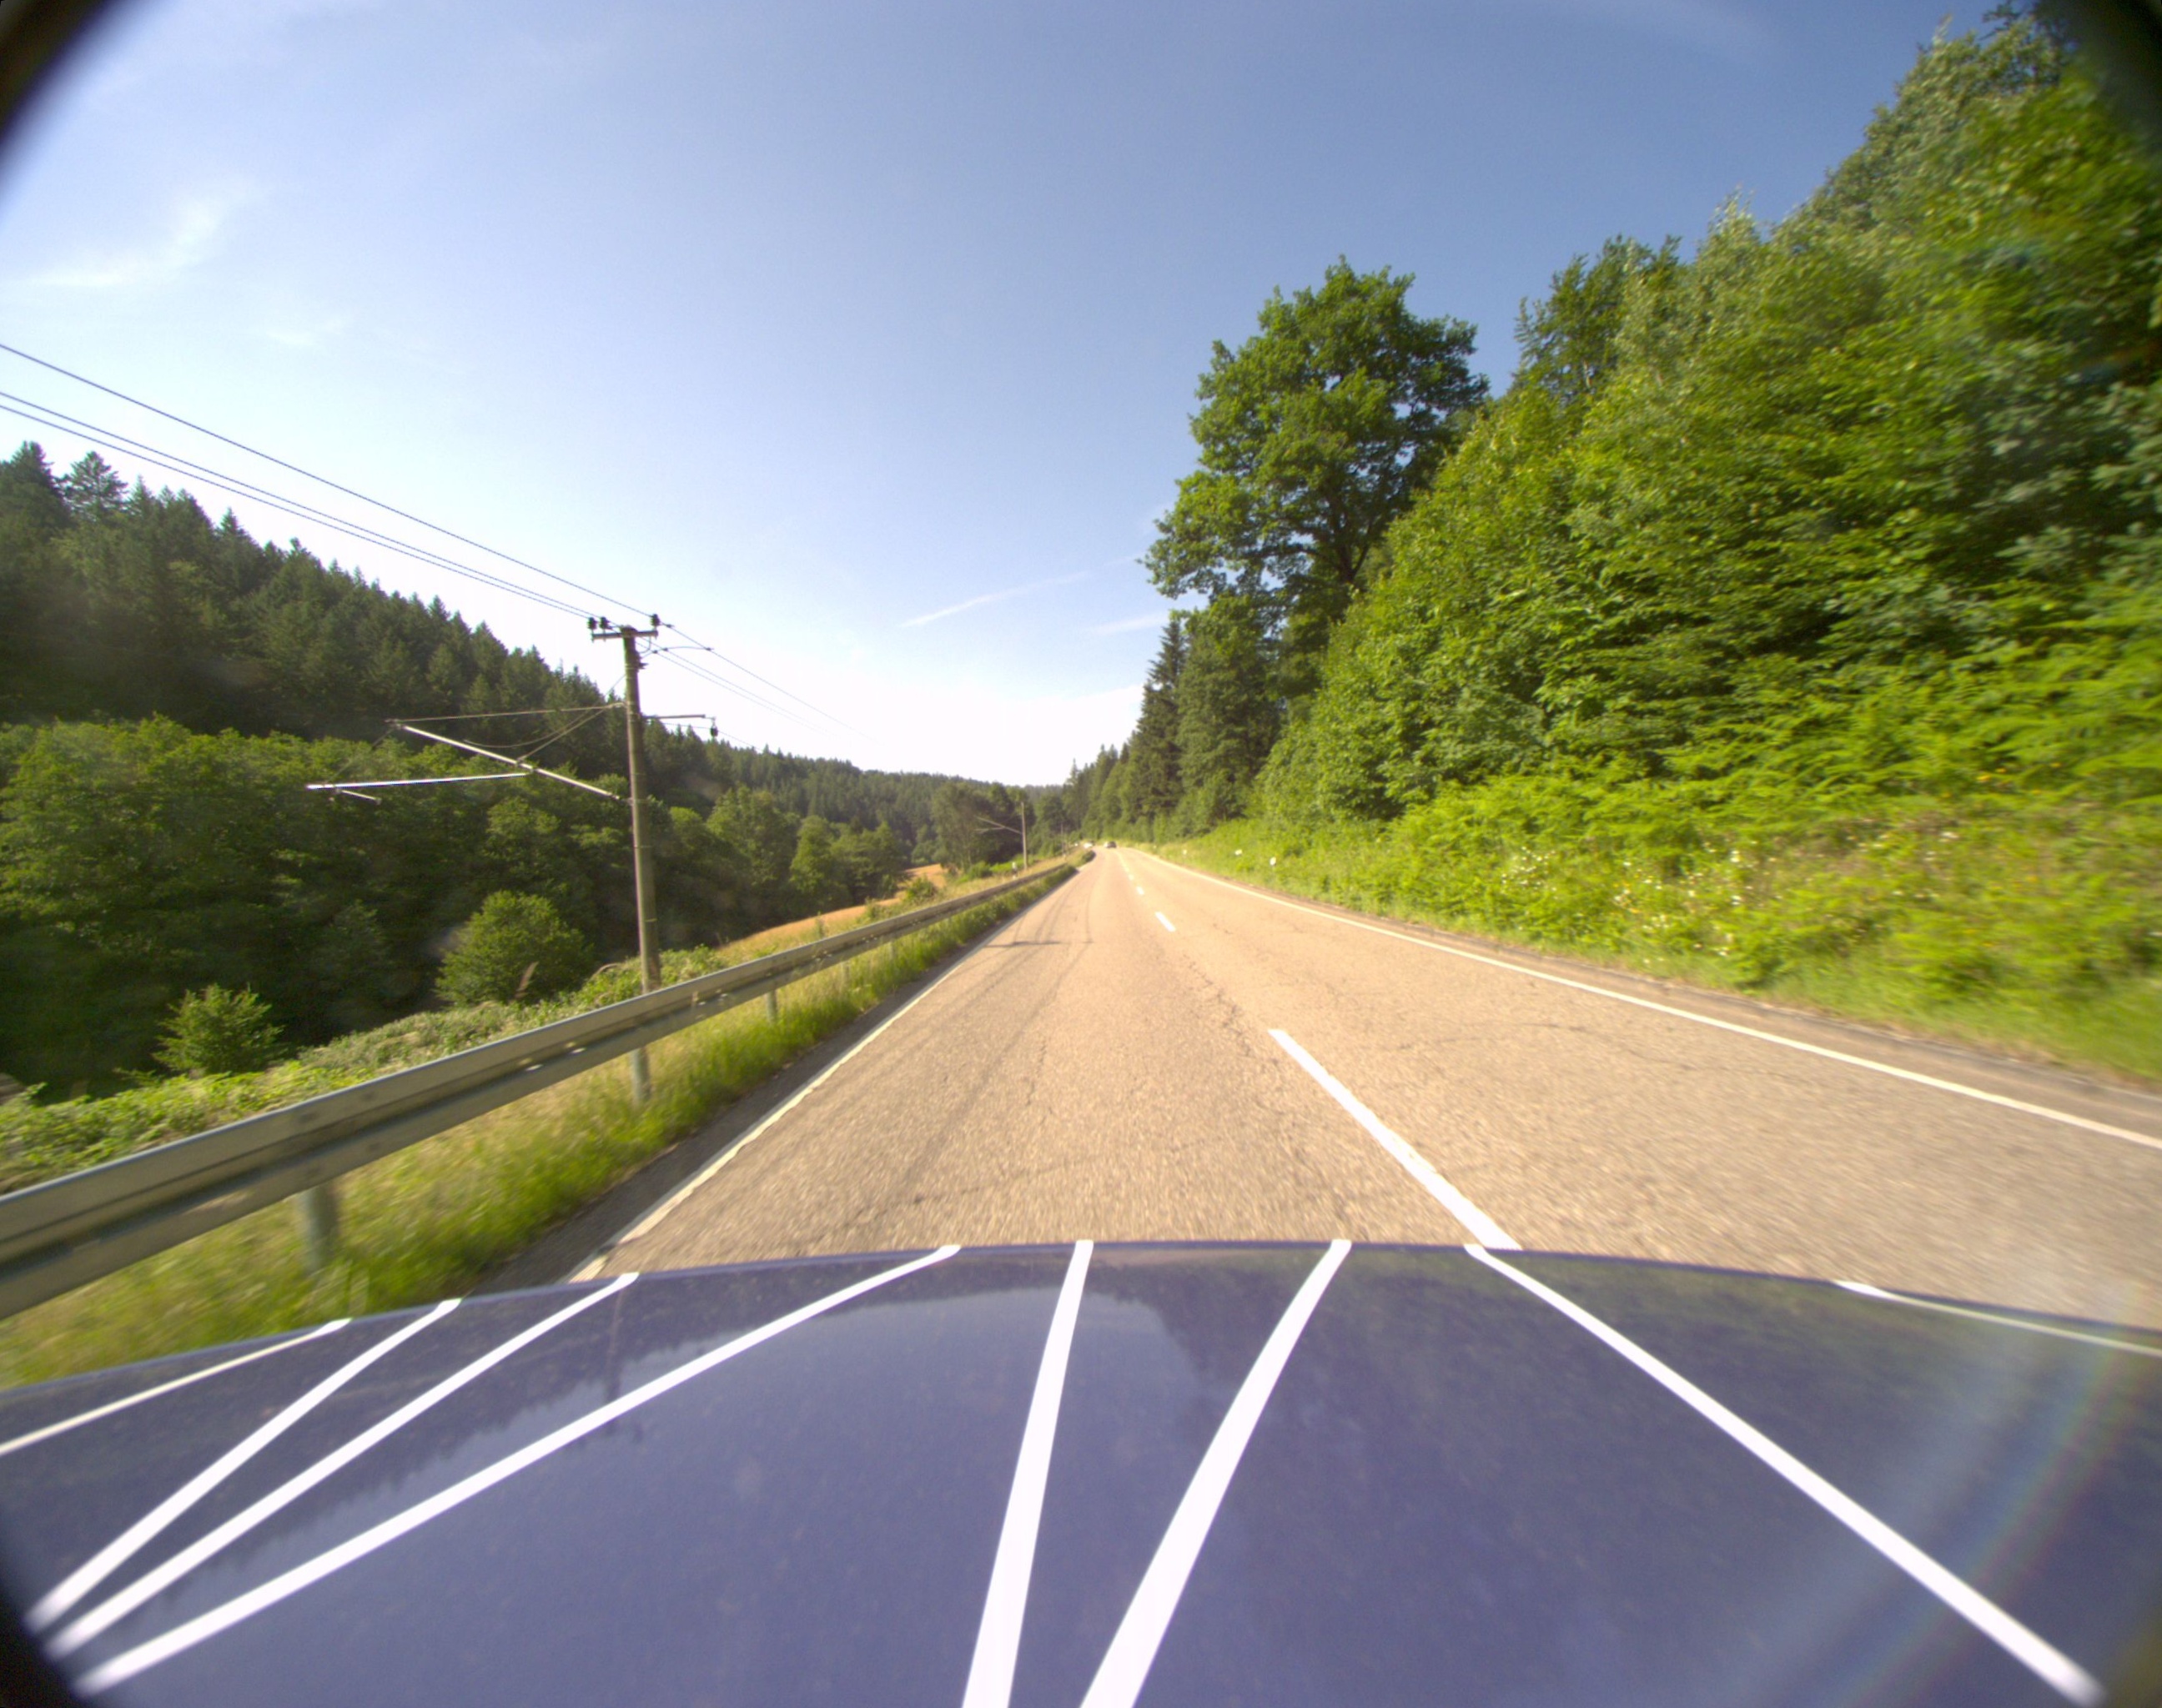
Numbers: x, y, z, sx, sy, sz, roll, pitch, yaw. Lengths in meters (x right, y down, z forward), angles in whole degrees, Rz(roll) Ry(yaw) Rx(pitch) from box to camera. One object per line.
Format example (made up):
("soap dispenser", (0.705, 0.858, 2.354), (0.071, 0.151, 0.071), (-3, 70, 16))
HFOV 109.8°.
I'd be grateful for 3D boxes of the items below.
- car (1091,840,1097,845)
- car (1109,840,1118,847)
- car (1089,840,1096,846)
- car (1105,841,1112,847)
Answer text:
("car", (4.261, -3.829, 250.392), (1.968, 1.568, 4.535), (-2, 1, 0))
("car", (7.380, -2.389, 173.273), (1.840, 1.572, 4.875), (-2, 1, 2))
("car", (3.205, -3.012, 209.778), (1.703, 1.543, 3.787), (-3, 2, 1))
("car", (6.882, -2.487, 190.809), (1.798, 1.357, 3.999), (-2, 2, 1))
